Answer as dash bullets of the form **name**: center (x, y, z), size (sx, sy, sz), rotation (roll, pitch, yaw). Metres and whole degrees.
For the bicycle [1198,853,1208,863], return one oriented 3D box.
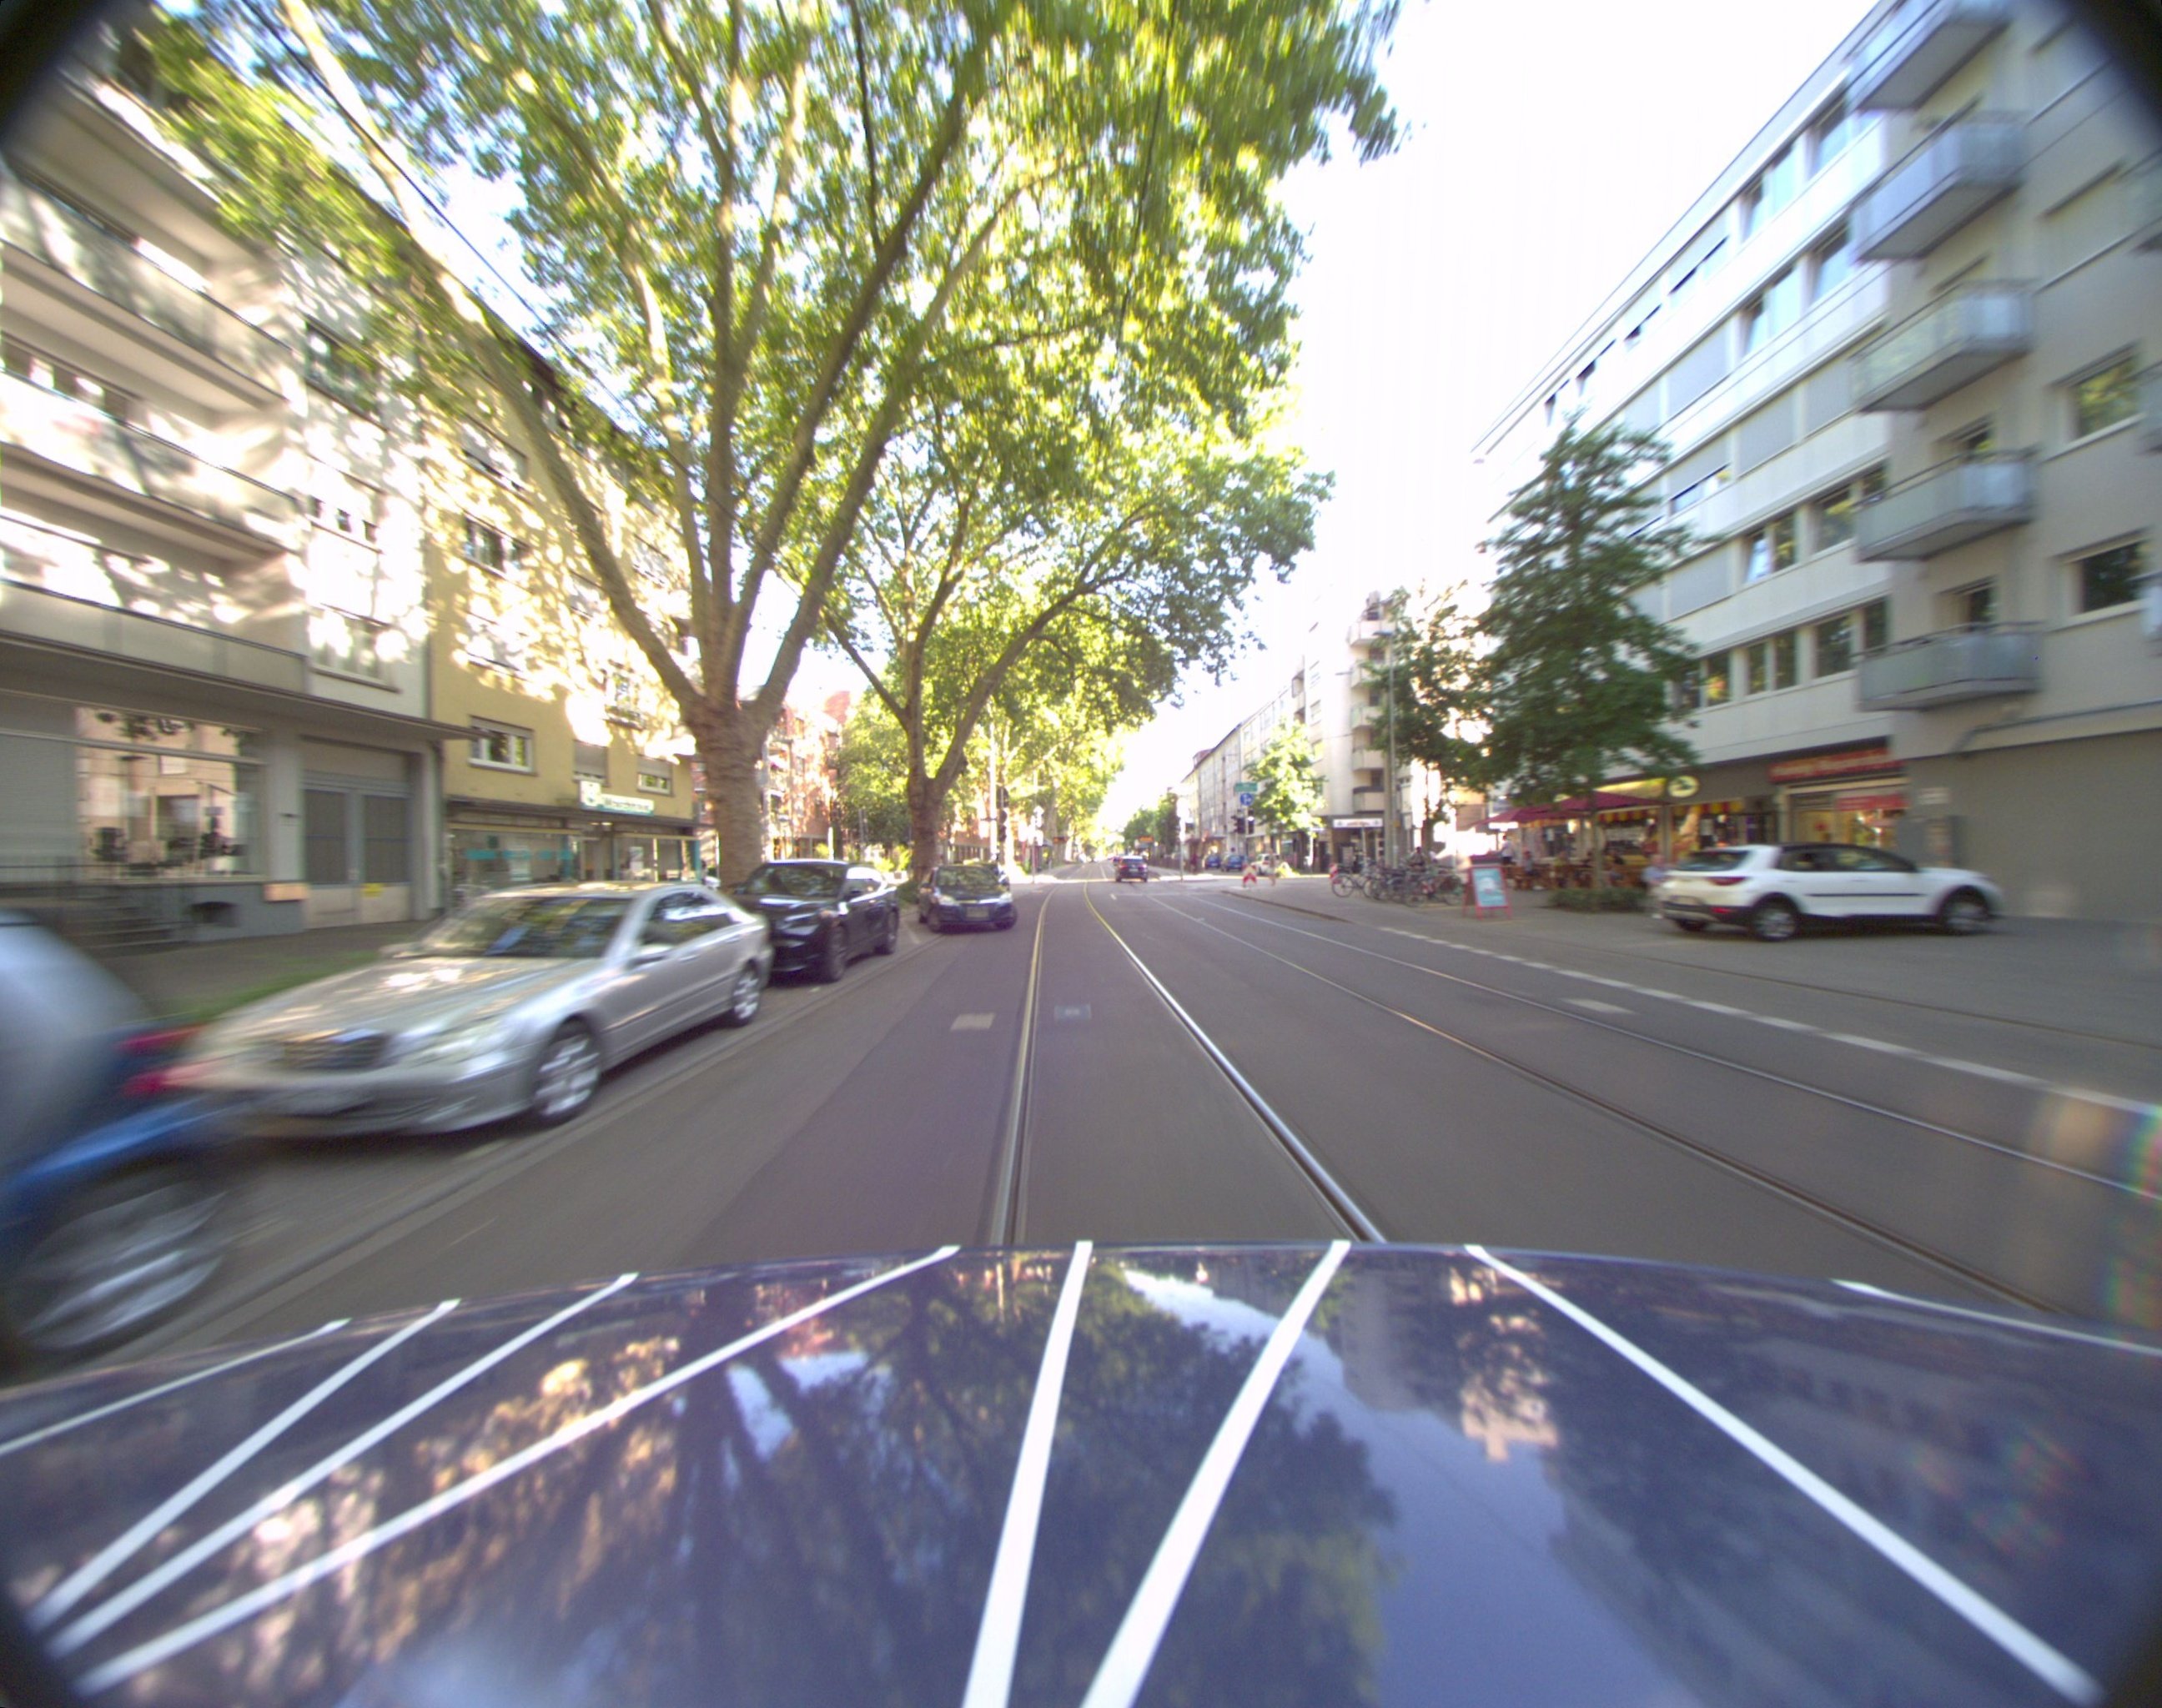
- **bicycle**: center (15.061, 0.473, 93.842), size (0.561, 1.150, 2.028), rotation (-1, 0, -14)

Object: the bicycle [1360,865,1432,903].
- **bicycle**: center (9.336, 0.881, 22.554), size (1.834, 1.001, 0.657), rotation (-2, 1, -4)

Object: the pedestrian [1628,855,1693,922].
- **pedestrian**: center (11.690, 0.679, 15.347), size (0.714, 1.290, 0.747), rotation (-1, 1, -13)

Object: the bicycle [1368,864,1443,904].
- **bicycle**: center (9.219, 0.841, 21.589), size (1.834, 1.058, 0.657), rotation (-2, 1, -4)

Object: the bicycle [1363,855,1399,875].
- **bicycle**: center (16.861, 0.621, 42.662), size (1.785, 1.150, 0.573), rotation (-1, 1, 32)

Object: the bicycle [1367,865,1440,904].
- **bicycle**: center (9.289, 0.869, 21.908), size (1.834, 1.001, 0.657), rotation (-2, 1, -4)

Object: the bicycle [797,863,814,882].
- **bicycle**: center (-17.601, 1.156, 48.566), size (0.601, 1.150, 1.697), rotation (1, 0, -3)

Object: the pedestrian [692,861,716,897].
- **pedestrian**: center (-16.417, 1.073, 33.067), size (0.701, 1.530, 0.692), rotation (0, 1, 42)

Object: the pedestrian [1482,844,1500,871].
- **pedestrian**: center (23.801, 0.211, 44.147), size (0.726, 1.547, 0.726), rotation (-1, 1, 10)

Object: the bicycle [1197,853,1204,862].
- **bicycle**: center (15.102, 0.426, 95.995), size (0.494, 1.150, 1.751), rotation (-1, 0, -4)

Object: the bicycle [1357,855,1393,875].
- **bicycle**: center (16.863, 0.621, 43.631), size (1.862, 1.150, 0.572), rotation (-1, 1, 5)

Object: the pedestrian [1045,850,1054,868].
- **pedestrian**: center (-3.025, 0.488, 72.849), size (0.768, 1.650, 0.917), rotation (-1, 0, 0)

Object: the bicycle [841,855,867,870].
- **bicycle**: center (-17.567, 0.655, 58.819), size (1.930, 1.150, 0.573), rotation (1, 1, 17)

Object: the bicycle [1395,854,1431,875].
- **bicycle**: center (18.770, 0.583, 42.993), size (1.786, 1.150, 0.572), rotation (-1, 1, 12)

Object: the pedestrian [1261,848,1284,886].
- **pedestrian**: center (8.683, 0.582, 34.469), size (0.759, 1.661, 0.768), rotation (-1, 1, -4)

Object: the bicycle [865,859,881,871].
- **bicycle**: center (-20.388, 1.052, 74.537), size (0.707, 1.150, 2.039), rotation (1, 0, 11)

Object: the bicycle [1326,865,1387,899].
- **bicycle**: center (8.862, 0.893, 24.485), size (1.696, 1.001, 0.657), rotation (-2, 1, -4)

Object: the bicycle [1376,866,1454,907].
- **bicycle**: center (9.106, 0.883, 20.723), size (1.834, 1.001, 0.657), rotation (-2, 1, -4)

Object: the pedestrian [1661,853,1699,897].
- **pedestrian**: center (16.698, 0.576, 21.191), size (0.563, 1.191, 0.624), rotation (-1, 1, 0)

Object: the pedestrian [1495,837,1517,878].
- **pedestrian**: center (17.591, 0.151, 31.411), size (0.747, 1.650, 0.770), rotation (0, 1, 32)

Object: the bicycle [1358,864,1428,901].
- **bicycle**: center (9.435, 0.854, 22.992), size (1.834, 1.001, 0.657), rotation (-2, 1, -4)

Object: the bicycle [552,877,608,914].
- **bicycle**: center (-14.914, 1.229, 22.676), size (0.572, 0.991, 1.780), rotation (1, 0, -3)

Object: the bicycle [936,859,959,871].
- **bicycle**: center (-12.725, 1.043, 72.408), size (2.034, 1.150, 0.572), rotation (1, 1, 11)

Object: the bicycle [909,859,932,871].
- **bicycle**: center (-15.256, 1.034, 72.392), size (2.035, 1.150, 0.572), rotation (1, 1, 7)

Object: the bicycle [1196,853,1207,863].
- **bicycle**: center (14.808, 0.487, 93.477), size (0.561, 1.150, 2.028), rotation (-1, 0, -14)

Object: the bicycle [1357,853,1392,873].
- **bicycle**: center (17.254, 0.519, 44.706), size (2.040, 1.150, 0.571), rotation (-1, 1, -21)

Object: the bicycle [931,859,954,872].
- **bicycle**: center (-13.075, 1.079, 71.537), size (2.036, 1.150, 0.572), rotation (1, 1, 2)

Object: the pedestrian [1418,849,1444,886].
- **pedestrian**: center (14.916, 0.568, 32.388), size (0.727, 1.547, 0.768), rotation (-1, 1, -4)

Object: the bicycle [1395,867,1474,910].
- **bicycle**: center (9.022, 0.880, 19.428), size (1.696, 1.001, 0.657), rotation (-2, 1, -4)

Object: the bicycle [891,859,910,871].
- **bicycle**: center (-17.223, 1.030, 72.480), size (1.681, 1.150, 0.572), rotation (1, 1, 7)

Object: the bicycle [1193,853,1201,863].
- **bicycle**: center (15.003, 0.514, 97.928), size (0.572, 1.150, 2.037), rotation (-1, 0, -4)

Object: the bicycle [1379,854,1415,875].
- **bicycle**: center (17.769, 0.587, 42.737), size (1.785, 1.150, 0.573), rotation (-1, 1, 32)
